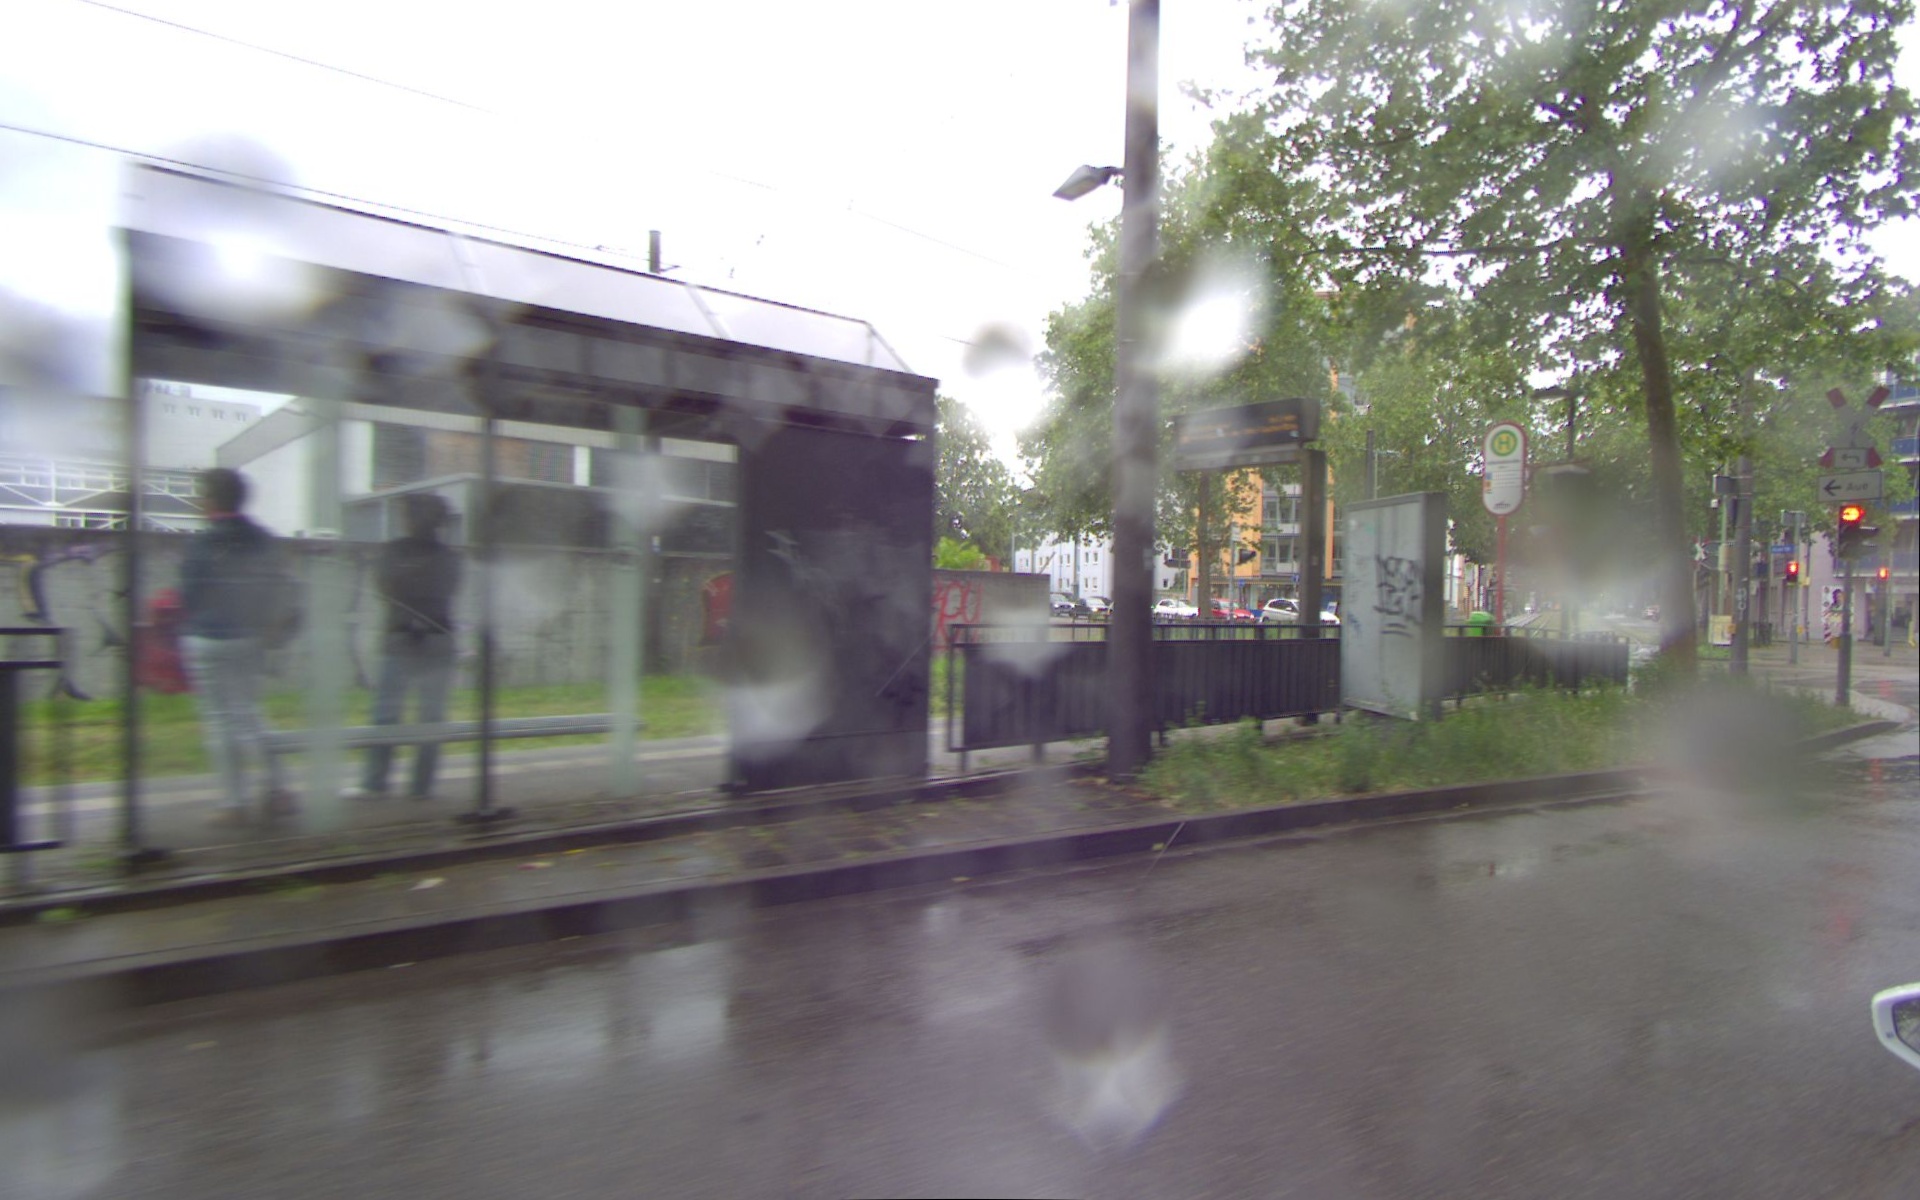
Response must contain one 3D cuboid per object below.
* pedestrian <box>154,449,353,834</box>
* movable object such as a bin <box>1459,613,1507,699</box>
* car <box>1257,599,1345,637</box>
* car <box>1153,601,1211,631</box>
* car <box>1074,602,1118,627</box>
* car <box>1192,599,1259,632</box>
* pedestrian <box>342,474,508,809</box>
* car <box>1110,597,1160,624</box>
[{"bbox_3d":[-3.457,0.192,4.940,0.571,1.754,0.568,0,-1,20],"label":"pedestrian"},{"bbox_3d":[6.853,0.719,13.157,0.527,1.104,0.412,1,-1,-45],"label":"movable object such as a bin"},{"bbox_3d":[15.483,0.815,45.828,1.940,1.673,4.006,0,-1,-16],"label":"car"},{"bbox_3d":[12.712,0.903,57.836,1.696,1.661,3.781,0,-1,-16],"label":"car"},{"bbox_3d":[9.418,1.009,70.040,1.696,1.661,3.781,0,-1,-16],"label":"car"},{"bbox_3d":[13.701,0.794,52.025,1.696,1.661,3.781,0,-1,-16],"label":"car"},{"bbox_3d":[-2.972,0.220,5.608,0.571,1.754,0.568,0,-1,18],"label":"pedestrian"},{"bbox_3d":[11.087,0.703,63.985,1.696,1.661,3.781,0,-1,-16],"label":"car"}]
